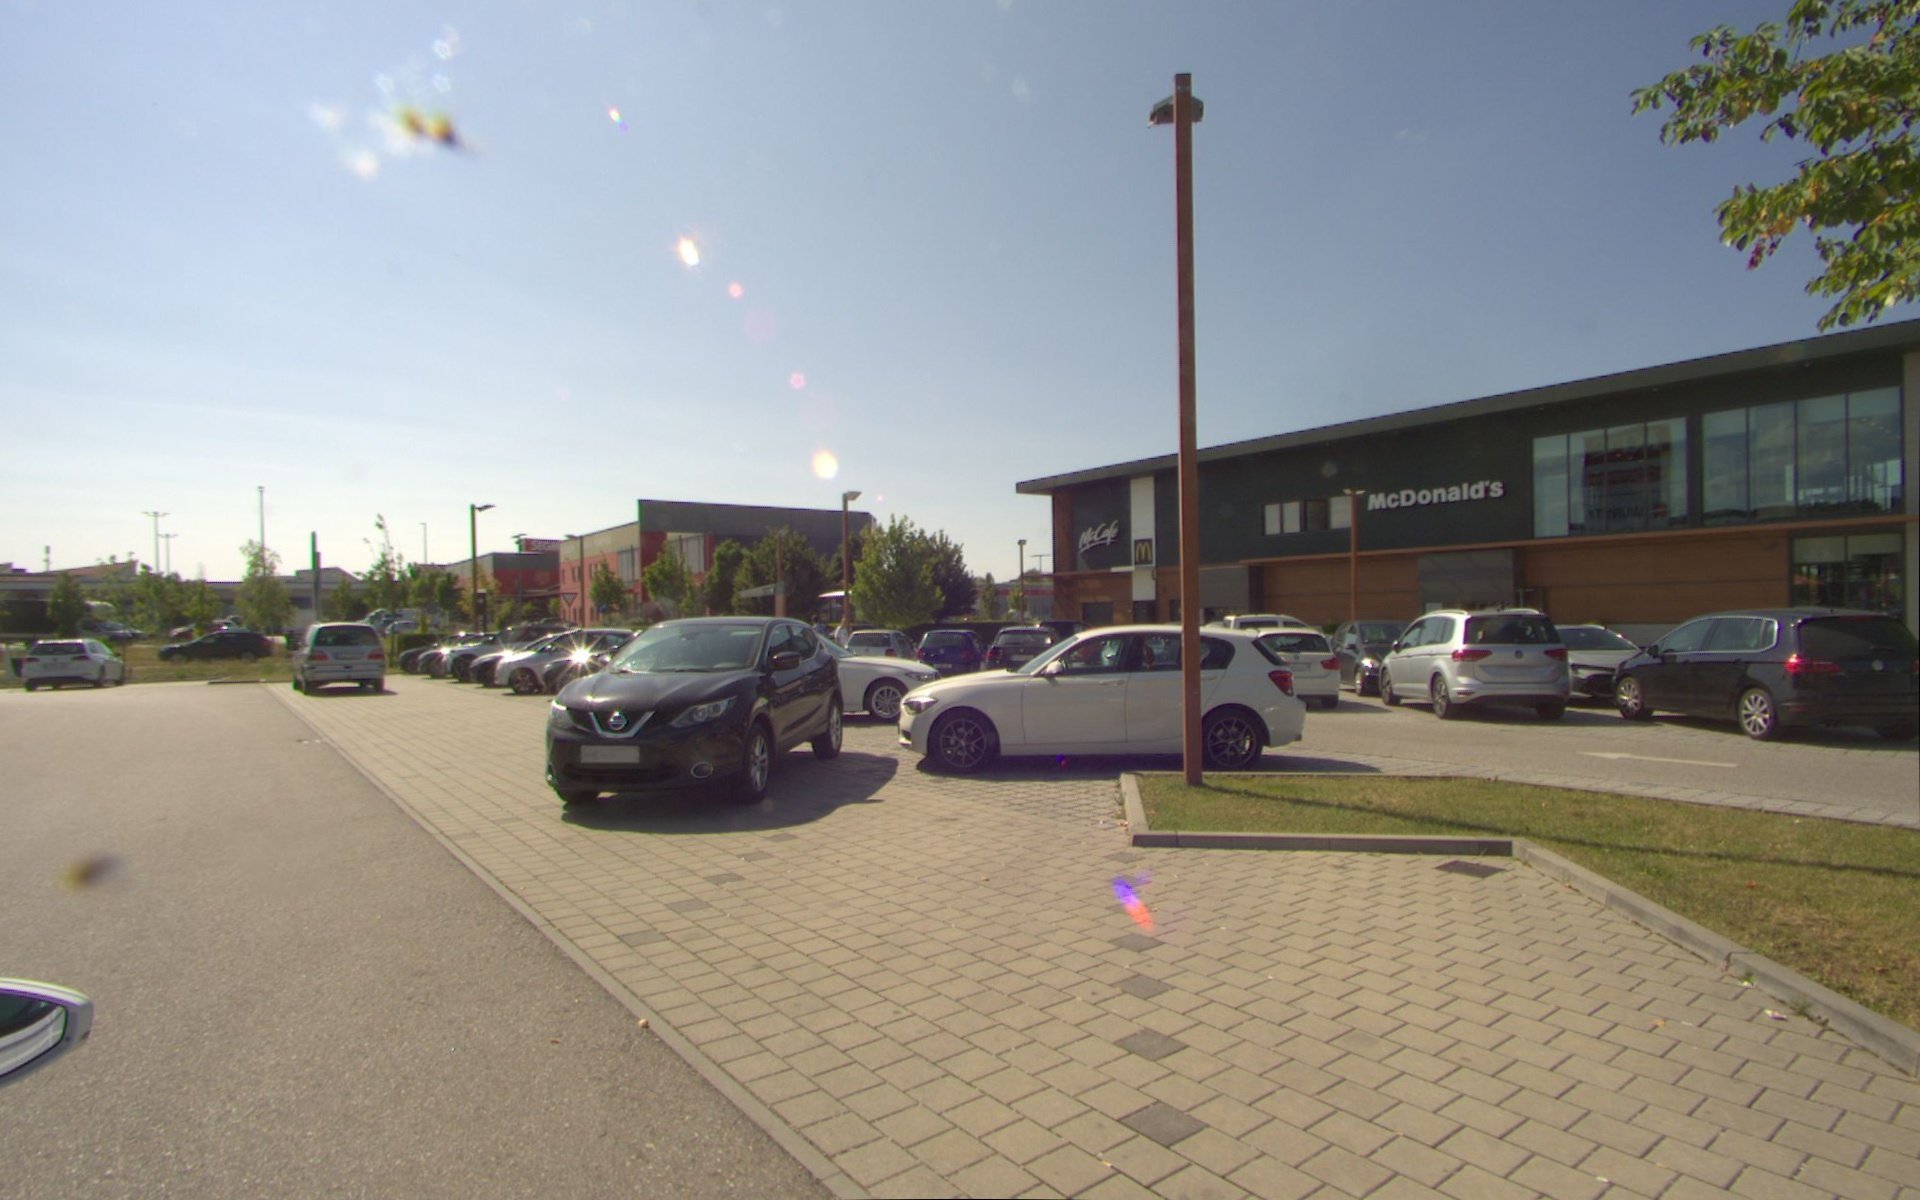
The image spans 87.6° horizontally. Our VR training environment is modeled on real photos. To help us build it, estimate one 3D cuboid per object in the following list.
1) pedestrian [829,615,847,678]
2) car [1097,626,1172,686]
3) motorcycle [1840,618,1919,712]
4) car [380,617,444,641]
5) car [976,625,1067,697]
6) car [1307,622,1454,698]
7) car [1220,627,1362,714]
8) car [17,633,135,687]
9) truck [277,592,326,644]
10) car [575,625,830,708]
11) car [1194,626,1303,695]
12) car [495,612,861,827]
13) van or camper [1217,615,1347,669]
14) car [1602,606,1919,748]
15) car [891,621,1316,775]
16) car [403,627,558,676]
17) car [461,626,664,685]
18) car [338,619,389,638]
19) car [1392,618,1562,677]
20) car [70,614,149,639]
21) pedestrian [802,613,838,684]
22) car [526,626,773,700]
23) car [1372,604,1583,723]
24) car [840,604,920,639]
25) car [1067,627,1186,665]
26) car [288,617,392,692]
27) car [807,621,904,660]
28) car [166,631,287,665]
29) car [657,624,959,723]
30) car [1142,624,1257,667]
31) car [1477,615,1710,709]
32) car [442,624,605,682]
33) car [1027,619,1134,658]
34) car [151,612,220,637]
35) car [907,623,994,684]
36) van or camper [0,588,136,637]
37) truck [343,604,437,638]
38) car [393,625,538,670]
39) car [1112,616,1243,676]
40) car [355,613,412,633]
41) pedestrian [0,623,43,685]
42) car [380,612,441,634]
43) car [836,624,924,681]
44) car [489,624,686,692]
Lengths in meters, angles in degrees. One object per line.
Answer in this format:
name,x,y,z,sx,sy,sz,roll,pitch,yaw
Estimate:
pedestrian,-3.525,1.338,28.916,0.458,1.791,0.553,0,-1,0
car,4.734,1.477,27.672,1.859,1.506,4.645,-1,-1,8
motorcycle,14.055,0.929,14.579,0.750,1.341,2.160,-1,-1,6
car,-44.706,2.348,81.758,4.353,1.879,1.941,1,-1,-38
car,1.521,1.356,23.357,1.778,1.506,4.280,-1,-1,8
car,9.177,1.262,22.280,1.859,1.506,4.645,-1,-1,8
car,6.057,1.234,18.777,1.778,1.431,4.115,-1,-1,8
car,-26.926,1.796,30.656,1.806,1.487,4.461,0,-2,-30
truck,-47.045,1.324,71.672,2.731,3.525,6.793,0,-1,-32
car,-4.715,1.206,18.741,4.285,1.478,1.837,0,-1,2
car,6.857,1.385,24.274,1.859,1.506,4.645,-1,-1,8
car,-2.388,0.925,9.768,1.821,1.611,4.302,0,-1,9
van or camper,10.944,1.433,34.262,3.950,1.798,1.712,0,-1,5
car,10.378,0.900,13.040,1.720,1.572,4.001,0,-1,5
car,1.446,0.978,10.789,4.125,1.478,1.976,0,-1,4
car,-15.598,1.649,32.724,4.125,1.546,1.976,0,-1,-1
car,-10.714,1.487,27.253,4.751,1.546,1.976,0,-1,0
car,-61.480,2.933,103.172,4.353,1.879,1.941,1,-1,-38
car,14.716,1.336,28.666,3.958,1.634,1.717,0,-1,6
car,-69.410,2.162,81.753,4.882,2.039,2.063,1,-2,-42
pedestrian,-3.793,1.295,27.111,0.758,1.873,0.831,0,-1,-24
car,-6.593,1.320,21.608,4.690,1.506,1.976,0,-1,4
car,8.284,0.980,16.460,1.778,1.696,4.115,-1,-1,8
car,-5.236,1.432,65.927,5.045,2.225,1.985,1,-1,-37
car,6.591,1.803,39.928,4.380,1.484,1.963,0,-1,-1
car,-16.240,1.362,26.133,1.812,1.771,4.647,0,-1,-38
car,-4.881,1.848,47.075,4.193,1.713,1.978,0,-1,-43
car,-39.379,2.543,53.968,5.156,1.753,1.976,1,-1,-34
car,-2.325,1.133,16.062,4.495,1.478,1.837,0,-1,4
car,8.864,1.677,37.262,3.873,1.534,1.714,-1,-1,2
car,11.427,1.069,18.508,1.859,1.506,4.645,-1,-1,8
car,-13.054,1.556,30.190,4.127,1.676,1.975,0,-1,-8
car,5.082,1.641,42.645,4.380,1.623,1.963,0,-1,2
car,-60.525,1.904,78.348,4.218,1.879,1.855,1,-1,-38
car,-0.182,1.407,27.498,1.778,1.534,4.115,-1,-1,8
van or camper,-58.496,0.830,64.900,7.899,3.142,2.419,0,-1,-5
truck,-49.813,1.880,87.687,6.976,2.851,1.940,1,-1,-38
car,-17.490,1.660,35.528,4.249,1.546,1.975,0,0,6
car,6.941,1.447,32.264,1.637,1.798,3.921,1,-2,-43
car,-53.908,2.164,93.642,4.353,1.879,1.941,1,-1,-38
pedestrian,-28.445,1.639,30.258,0.981,1.832,0.721,0,-2,-35
car,-47.283,1.961,86.236,4.353,1.879,1.941,1,-1,-38
car,-2.229,1.467,29.050,1.679,1.512,4.115,-1,-1,8
car,-8.901,1.367,24.271,4.127,1.546,1.975,0,-1,-8
